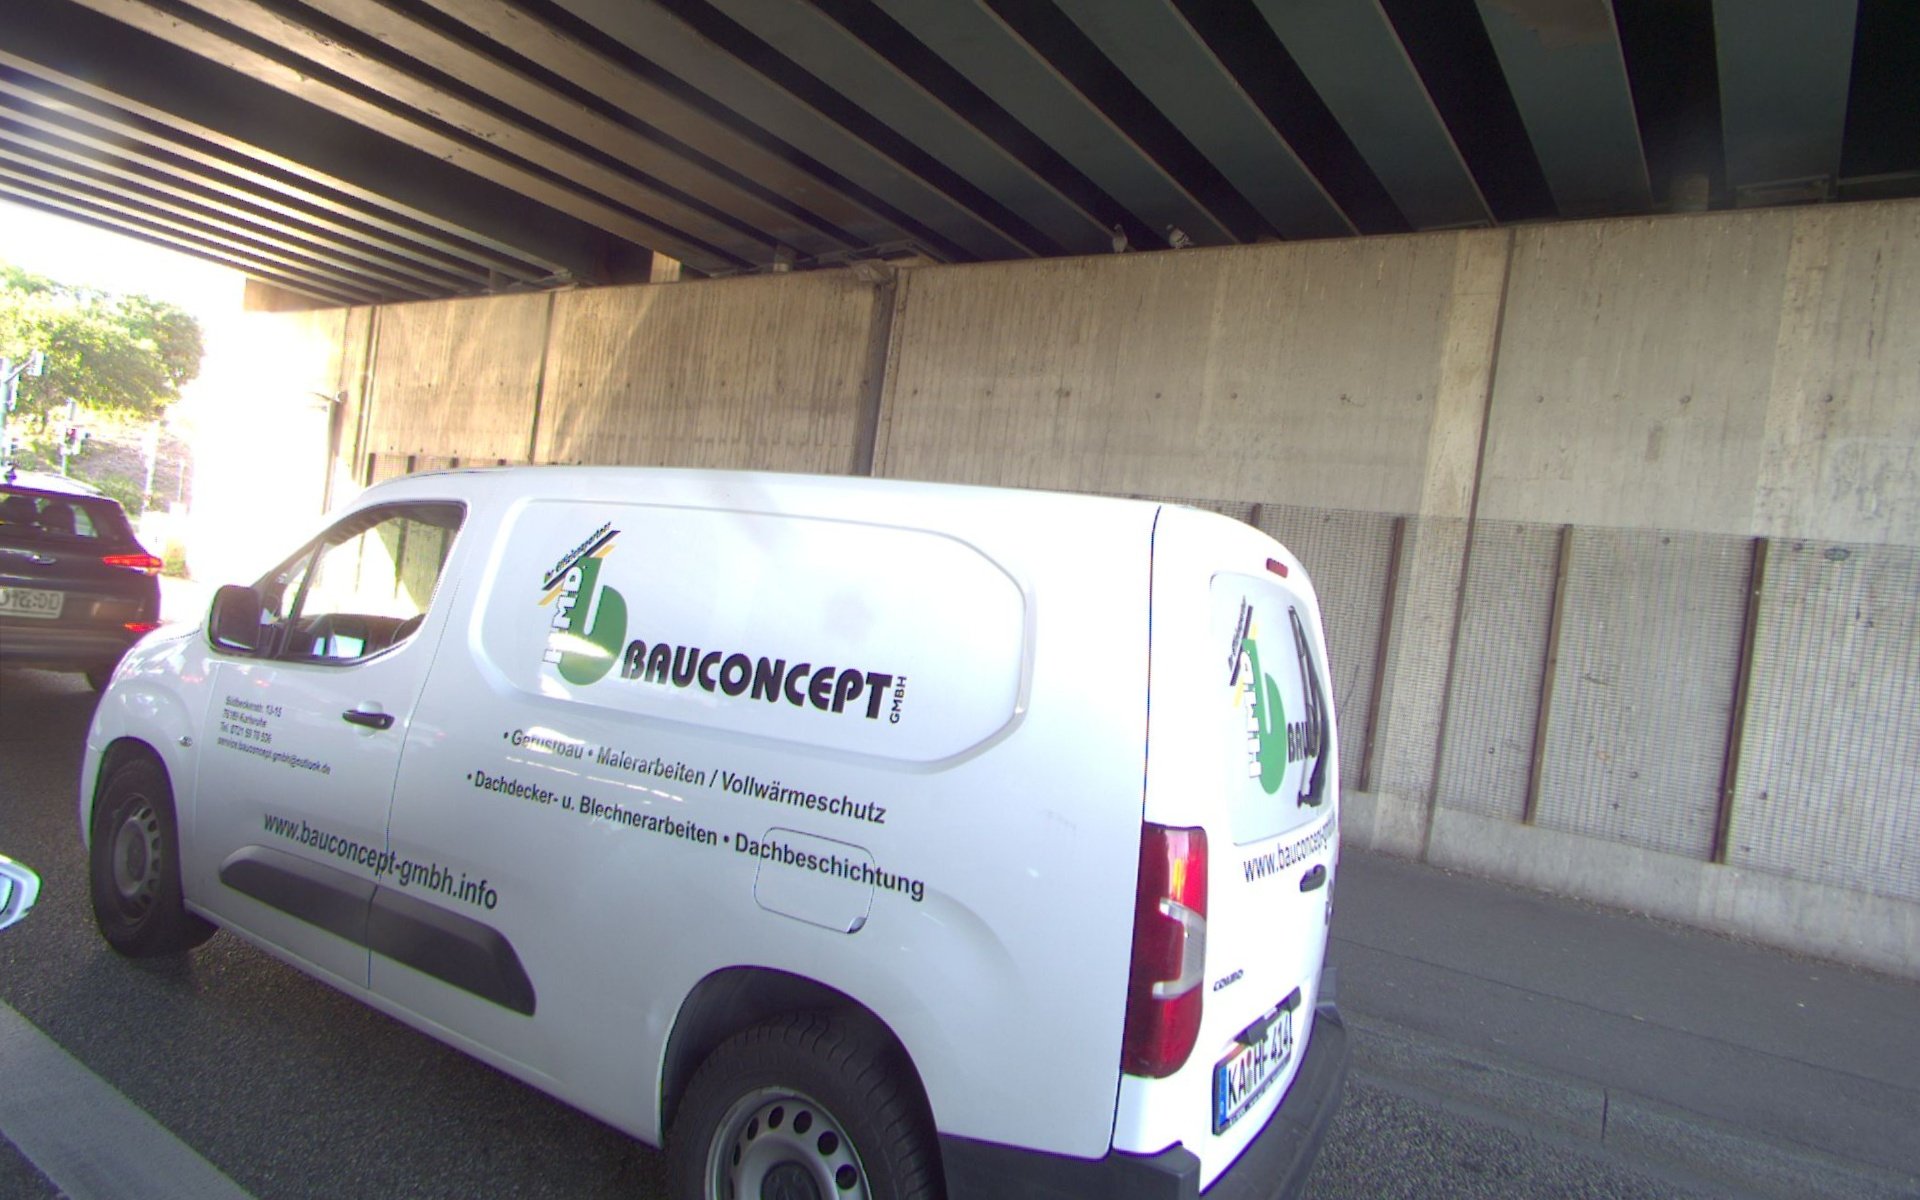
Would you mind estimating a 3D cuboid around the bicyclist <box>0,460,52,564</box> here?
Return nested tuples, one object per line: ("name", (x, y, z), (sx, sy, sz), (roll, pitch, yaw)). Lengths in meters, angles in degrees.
("bicyclist", (-16.122, -1.497, 17.186), (0.635, 1.647, 0.676), (6, -2, 42))

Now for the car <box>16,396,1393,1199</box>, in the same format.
("car", (-1.039, 0.516, 3.381), (4.227, 1.855, 1.818), (8, -1, 30))

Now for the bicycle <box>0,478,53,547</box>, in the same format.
("bicycle", (-16.075, -1.496, 17.148), (1.508, 1.036, 0.676), (6, -2, 43))

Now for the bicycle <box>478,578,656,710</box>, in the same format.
("bicycle", (-3.981, 0.419, 10.146), (1.731, 1.071, 0.702), (7, 2, 32))

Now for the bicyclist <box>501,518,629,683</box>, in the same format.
("bicyclist", (-3.986, 0.002, 10.157), (0.894, 1.544, 0.695), (7, 2, 32))

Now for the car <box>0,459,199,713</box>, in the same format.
("car", (-7.981, -0.281, 7.829), (3.923, 1.674, 1.782), (7, -2, 31))
